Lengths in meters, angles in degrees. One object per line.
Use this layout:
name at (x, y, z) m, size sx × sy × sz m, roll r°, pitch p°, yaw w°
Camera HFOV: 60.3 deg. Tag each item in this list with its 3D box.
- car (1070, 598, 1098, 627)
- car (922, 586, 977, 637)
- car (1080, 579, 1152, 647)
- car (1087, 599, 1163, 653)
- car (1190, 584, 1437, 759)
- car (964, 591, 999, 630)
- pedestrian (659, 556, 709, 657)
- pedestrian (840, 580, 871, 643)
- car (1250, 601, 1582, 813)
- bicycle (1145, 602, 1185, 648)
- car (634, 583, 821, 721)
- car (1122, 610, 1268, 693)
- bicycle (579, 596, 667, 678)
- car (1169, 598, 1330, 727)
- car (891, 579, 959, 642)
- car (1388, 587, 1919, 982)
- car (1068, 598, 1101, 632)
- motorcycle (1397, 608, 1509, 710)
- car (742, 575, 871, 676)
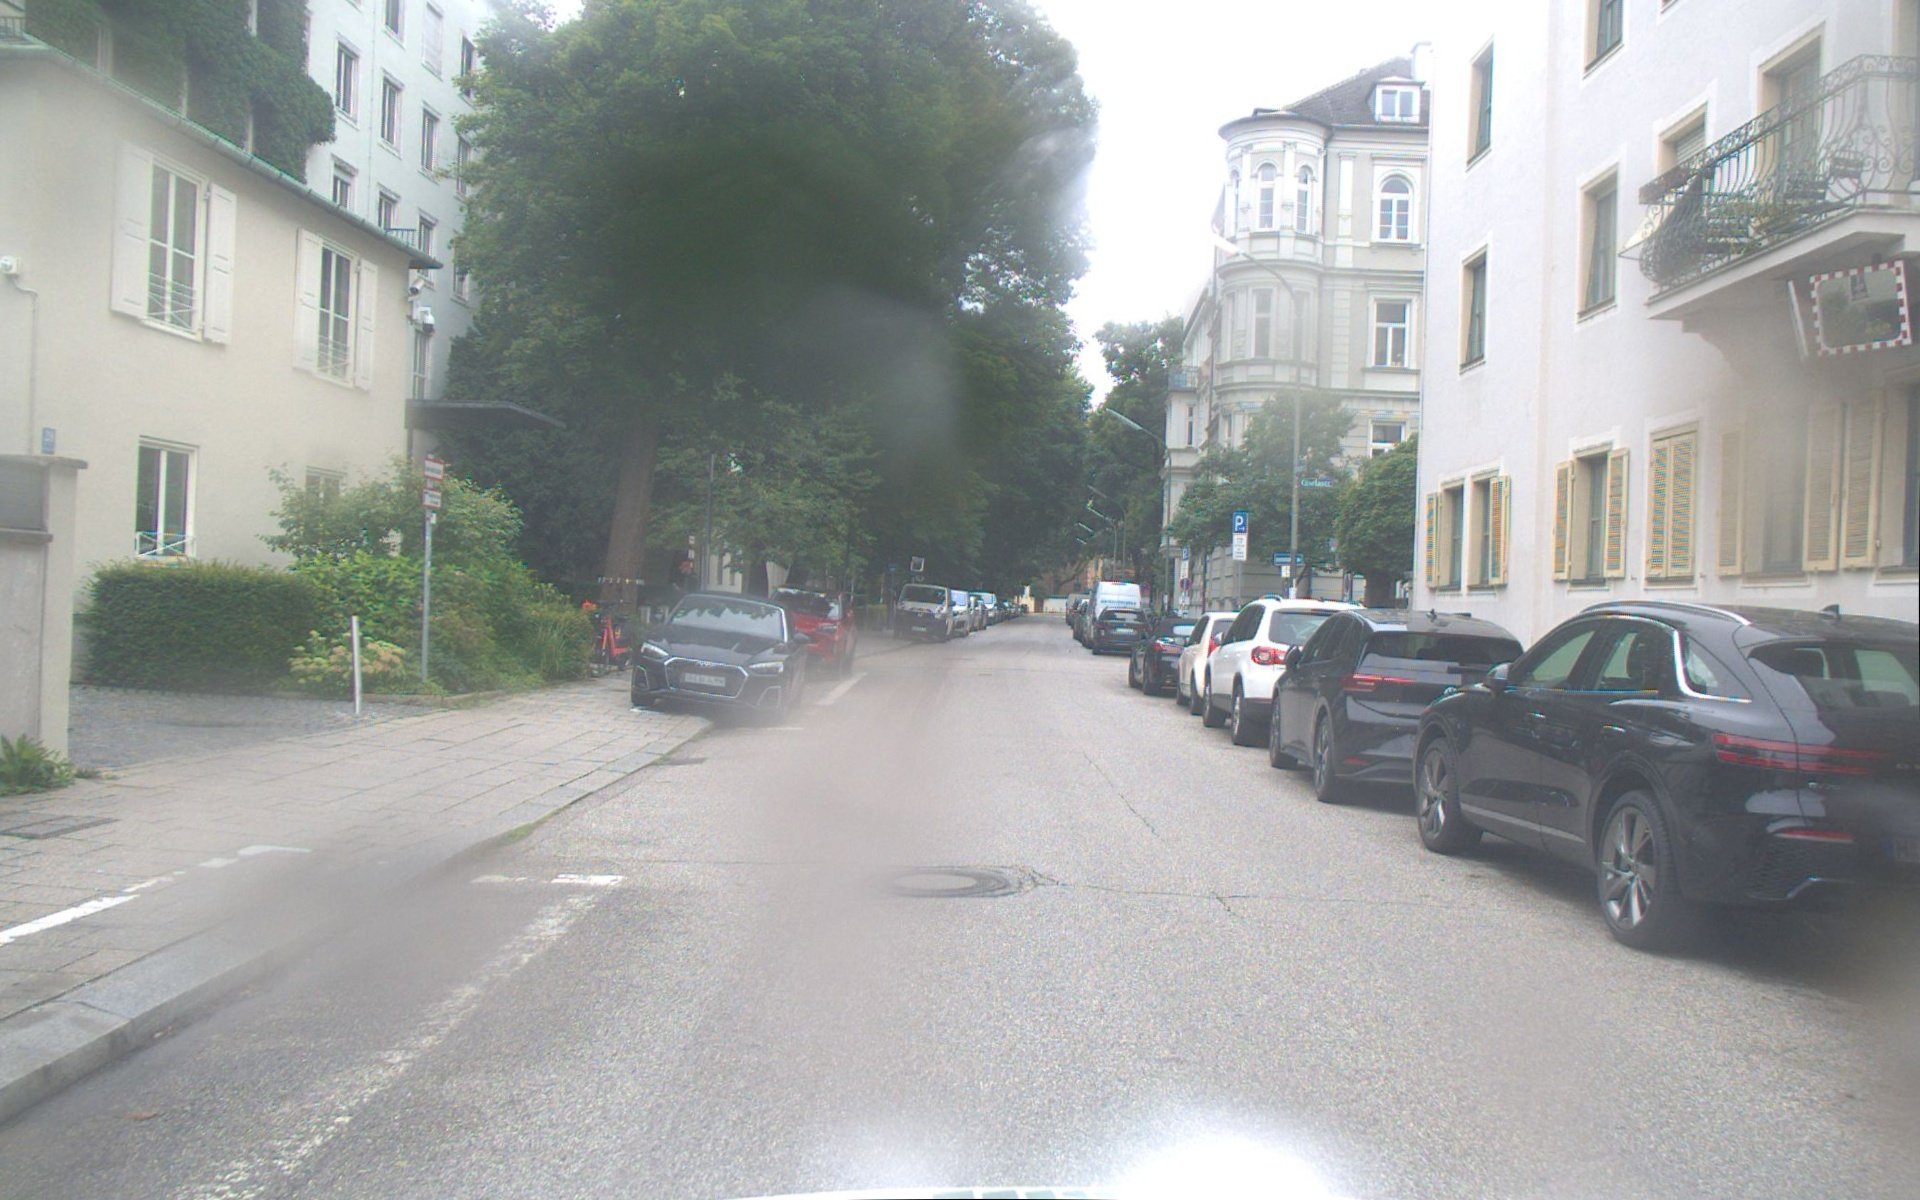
car at (9.068, 0.889, 120.714) m, size 1.951 × 2.049 × 4.002 m, roll 2°, pitch 0°, yaw 5°
car at (-0.414, 0.478, 70.412) m, size 2.139 × 1.990 × 5.166 m, roll 3°, pitch 0°, yaw 0°
car at (5.466, 0.464, 58.555) m, size 2.158 × 2.247 × 4.855 m, roll 1°, pitch -1°, yaw 1°
car at (5.098, 0.792, 51.594) m, size 2.224 × 1.573 × 4.589 m, roll 1°, pitch -1°, yaw 5°
car at (4.098, 0.766, 19.975) m, size 1.953 × 1.736 × 4.534 m, roll 4°, pitch 0°, yaw 1°
car at (1.364, 0.648, 103.383) m, size 1.961 × 2.224 × 4.697 m, roll 3°, pitch 0°, yaw 2°
pedestrian at (-5.317, 0.133, 31.900) m, size 0.698 × 1.885 × 0.797 m, roll 3°, pitch -1°, yaw 1°
pedestrian at (-2.735, 0.304, 43.239) m, size 0.699 × 1.575 × 0.752 m, roll 4°, pitch 0°, yaw -3°
car at (3.823, 0.805, 14.672) m, size 1.800 × 1.558 × 4.416 m, roll 1°, pitch 0°, yaw 1°
bicycle at (7.179, 0.849, 57.980) m, size 0.695 × 1.542 × 2.031 m, roll 2°, pitch 0°, yaw -14°
car at (-2.786, 0.577, 20.826) m, size 1.771 × 1.426 × 4.922 m, roll 4°, pitch 0°, yaw -2°
car at (4.087, 0.856, 29.475) m, size 1.959 × 1.342 × 4.595 m, roll 0°, pitch 0°, yaw 0°
bicycle at (-4.963, 0.529, 24.490) m, size 0.635 × 1.150 × 2.049 m, roll 2°, pitch 0°, yaw 7°
car at (4.219, 0.862, 24.596) m, size 1.735 × 1.572 × 3.712 m, roll 7°, pitch 0°, yaw 2°
car at (-1.184, 0.370, 58.710) m, size 2.202 × 1.990 × 5.453 m, roll 4°, pitch 0°, yaw 0°
car at (4.031, 0.765, 9.234) m, size 1.823 × 1.604 × 4.897 m, roll 1°, pitch 0°, yaw -2°
car at (7.679, 0.898, 101.562) m, size 1.951 × 2.010 × 4.002 m, roll 2°, pitch 0°, yaw 5°
motorcycle at (7.616, 0.881, 25.711) m, size 0.839 × 1.458 × 2.706 m, roll 2°, pitch 0°, yaw -1°
car at (-2.751, 0.446, 30.563) m, size 1.849 × 1.618 × 4.527 m, roll 4°, pitch 0°, yaw 0°
